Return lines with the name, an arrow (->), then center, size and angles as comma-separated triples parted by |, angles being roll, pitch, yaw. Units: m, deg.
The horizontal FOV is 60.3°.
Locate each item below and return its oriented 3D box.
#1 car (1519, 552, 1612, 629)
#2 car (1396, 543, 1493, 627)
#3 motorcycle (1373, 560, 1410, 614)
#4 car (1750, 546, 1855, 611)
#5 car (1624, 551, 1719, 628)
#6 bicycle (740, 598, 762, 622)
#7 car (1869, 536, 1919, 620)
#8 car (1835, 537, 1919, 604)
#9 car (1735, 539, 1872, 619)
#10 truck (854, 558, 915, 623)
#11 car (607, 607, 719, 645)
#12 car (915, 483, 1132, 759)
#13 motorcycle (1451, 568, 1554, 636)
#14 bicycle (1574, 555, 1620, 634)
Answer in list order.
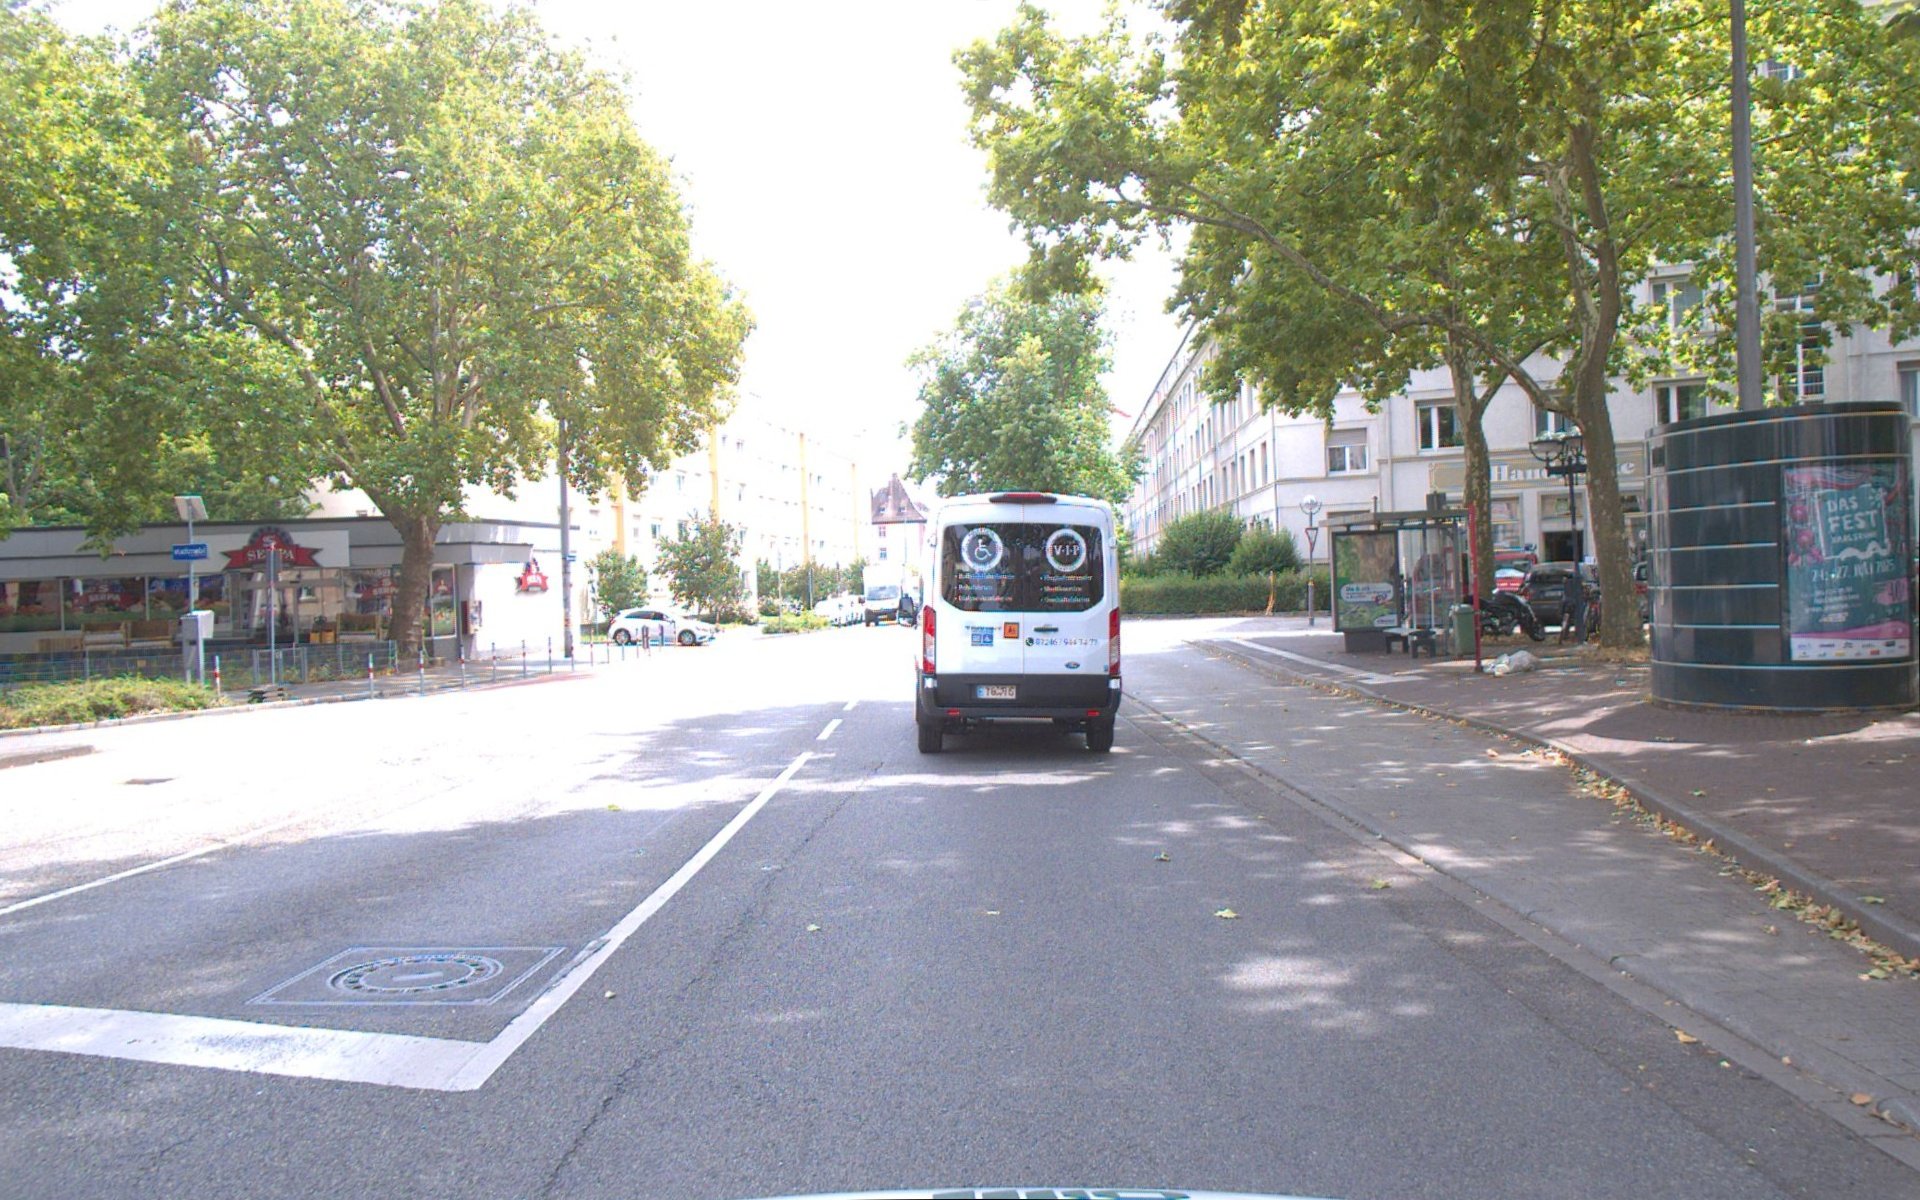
car -> 13.537, -0.245, 37.130 | 1.789, 1.579, 4.002 | -3, 1, 19
car -> 11.069, -0.364, 37.605 | 1.892, 1.735, 4.333 | -2, 1, 18
motorcycle -> 12.621, -0.400, 48.437 | 0.814, 1.487, 2.308 | -2, 2, 10
car -> 21.677, -0.580, 42.687 | 1.952, 1.513, 4.195 | -2, 1, 21
car -> 15.208, -0.257, 35.467 | 1.710, 1.489, 4.184 | -3, 1, 22
bicycle -> -12.298, 0.583, 97.368 | 0.566, 1.272, 1.935 | -2, 1, 14
car -> 20.079, -0.516, 33.742 | 1.952, 1.626, 4.002 | -3, 1, 19
car -> 24.099, -0.799, 42.893 | 1.952, 1.618, 4.195 | -2, 1, 21
car -> 17.528, -0.447, 34.546 | 1.952, 1.489, 4.002 | -3, 1, 19
truck -> -3.996, -0.538, 88.838 | 2.489, 3.161, 7.023 | -4, 1, 2
car -> -11.833, 1.023, 66.083 | 4.083, 1.476, 1.850 | 0, 0, 4
car -> 0.650, 0.171, 17.811 | 2.027, 2.584, 4.636 | 0, 0, 1
motorcycle -> 10.579, 0.030, 32.274 | 1.817, 1.244, 0.530 | -3, 1, -4
bicycle -> 12.184, -0.131, 31.587 | 0.411, 1.402, 2.307 | -2, 1, 30
